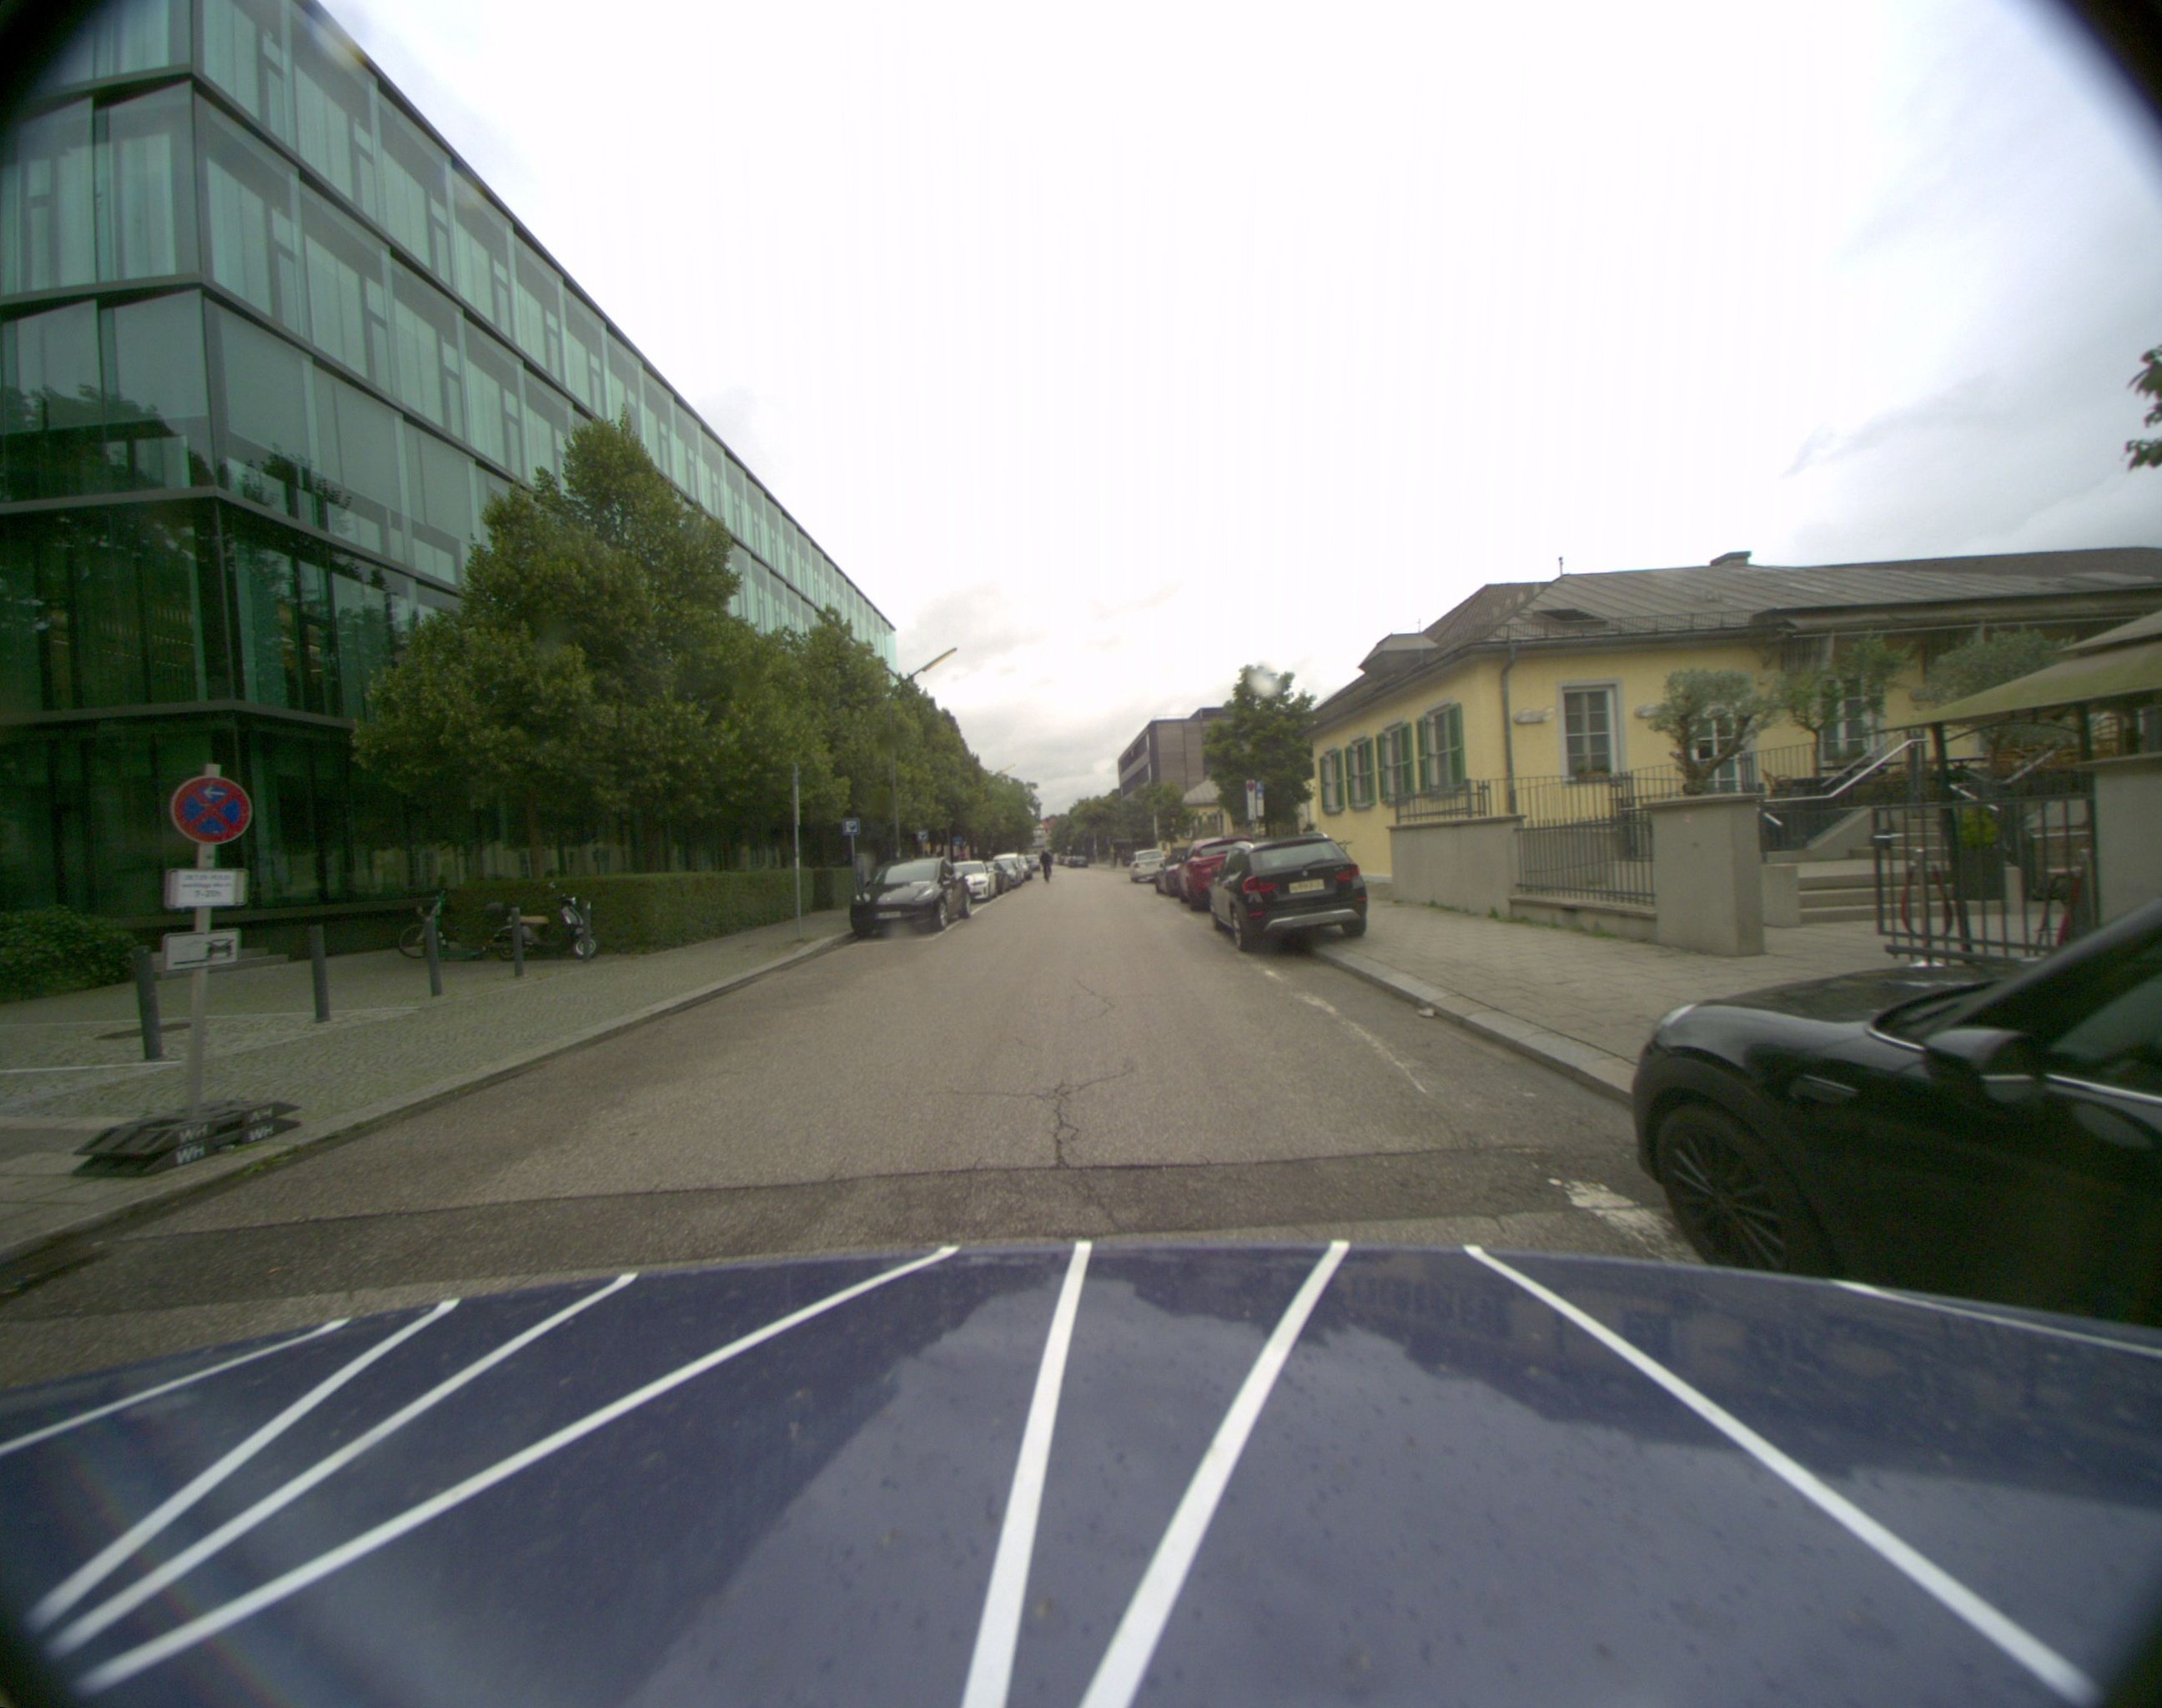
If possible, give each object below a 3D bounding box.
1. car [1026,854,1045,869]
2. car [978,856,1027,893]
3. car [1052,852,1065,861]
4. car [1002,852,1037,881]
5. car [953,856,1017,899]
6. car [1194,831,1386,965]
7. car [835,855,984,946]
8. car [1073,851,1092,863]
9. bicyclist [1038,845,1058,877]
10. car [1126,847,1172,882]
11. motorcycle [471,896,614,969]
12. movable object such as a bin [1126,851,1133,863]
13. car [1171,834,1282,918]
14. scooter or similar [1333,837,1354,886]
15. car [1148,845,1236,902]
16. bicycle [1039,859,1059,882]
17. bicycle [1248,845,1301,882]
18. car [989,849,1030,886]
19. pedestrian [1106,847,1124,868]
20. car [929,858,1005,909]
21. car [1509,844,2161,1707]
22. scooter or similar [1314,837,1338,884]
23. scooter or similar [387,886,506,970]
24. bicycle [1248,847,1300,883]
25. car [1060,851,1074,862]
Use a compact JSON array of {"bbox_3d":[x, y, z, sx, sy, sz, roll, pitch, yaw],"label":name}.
[{"bbox_3d":[-5.285,0.876,88.124,1.959,1.494,4.485,-5,0,-4],"label":"car"},{"bbox_3d":[-3.908,0.976,38.722,1.952,1.543,5.004,-5,0,-1],"label":"car"},{"bbox_3d":[-3.953,0.412,131.318,1.999,1.510,3.998,-5,0,-4],"label":"car"},{"bbox_3d":[-4.030,0.816,50.637,1.872,1.682,4.784,-5,0,-1],"label":"car"},{"bbox_3d":[-4.049,0.943,32.830,1.967,1.543,4.849,-5,0,1],"label":"car"},{"bbox_3d":[3.052,0.552,12.180,1.850,1.598,4.743,-5,0,3],"label":"car"},{"bbox_3d":[-3.787,0.952,17.832,1.998,1.621,5.100,-5,0,3],"label":"car"},{"bbox_3d":[0.141,0.375,92.600,1.929,1.390,4.485,-3,0,-4],"label":"car"},{"bbox_3d":[-1.794,0.398,41.425,0.780,1.657,1.035,-5,0,7],"label":"bicyclist"},{"bbox_3d":[3.247,0.464,36.820,1.729,1.483,4.461,-5,0,0],"label":"car"},{"bbox_3d":[-9.077,1.317,12.850,1.898,1.126,0.708,-1,1,2],"label":"motorcycle"},{"bbox_3d":[4.806,0.283,75.393,0.615,1.102,0.460,-5,1,-4],"label":"movable object such as a bin"},{"bbox_3d":[3.479,0.461,19.088,1.906,1.682,4.808,-5,0,2],"label":"car"},{"bbox_3d":[7.422,0.202,21.459,0.363,1.306,1.255,-3,1,25],"label":"scooter or similar"},{"bbox_3d":[3.454,0.558,24.483,1.901,1.510,4.654,-5,0,-2],"label":"car"},{"bbox_3d":[-1.748,0.894,41.494,0.720,1.199,1.802,-5,-1,7],"label":"bicycle"},{"bbox_3d":[6.684,0.321,26.270,1.705,1.165,0.352,-3,1,-1],"label":"bicycle"},{"bbox_3d":[-4.150,0.729,44.599,1.789,1.884,4.573,-5,0,0],"label":"car"},{"bbox_3d":[3.412,0.378,77.138,1.480,2.002,1.500,-5,1,-4],"label":"pedestrian"},{"bbox_3d":[-3.988,0.975,27.372,1.999,1.451,4.956,-5,0,-2],"label":"car"},{"bbox_3d":[2.804,0.771,1.311,1.863,1.536,4.188,-2,1,2],"label":"car"},{"bbox_3d":[7.340,0.189,22.743,0.375,1.335,1.355,-3,1,27],"label":"scooter or similar"},{"bbox_3d":[-10.775,1.240,12.936,1.352,1.295,0.670,-2,3,-3],"label":"scooter or similar"},{"bbox_3d":[6.579,0.367,25.894,1.633,1.130,0.387,-3,1,-1],"label":"bicycle"},{"bbox_3d":[-2.244,0.360,121.167,1.999,1.510,3.998,-5,0,-4],"label":"car"}]
